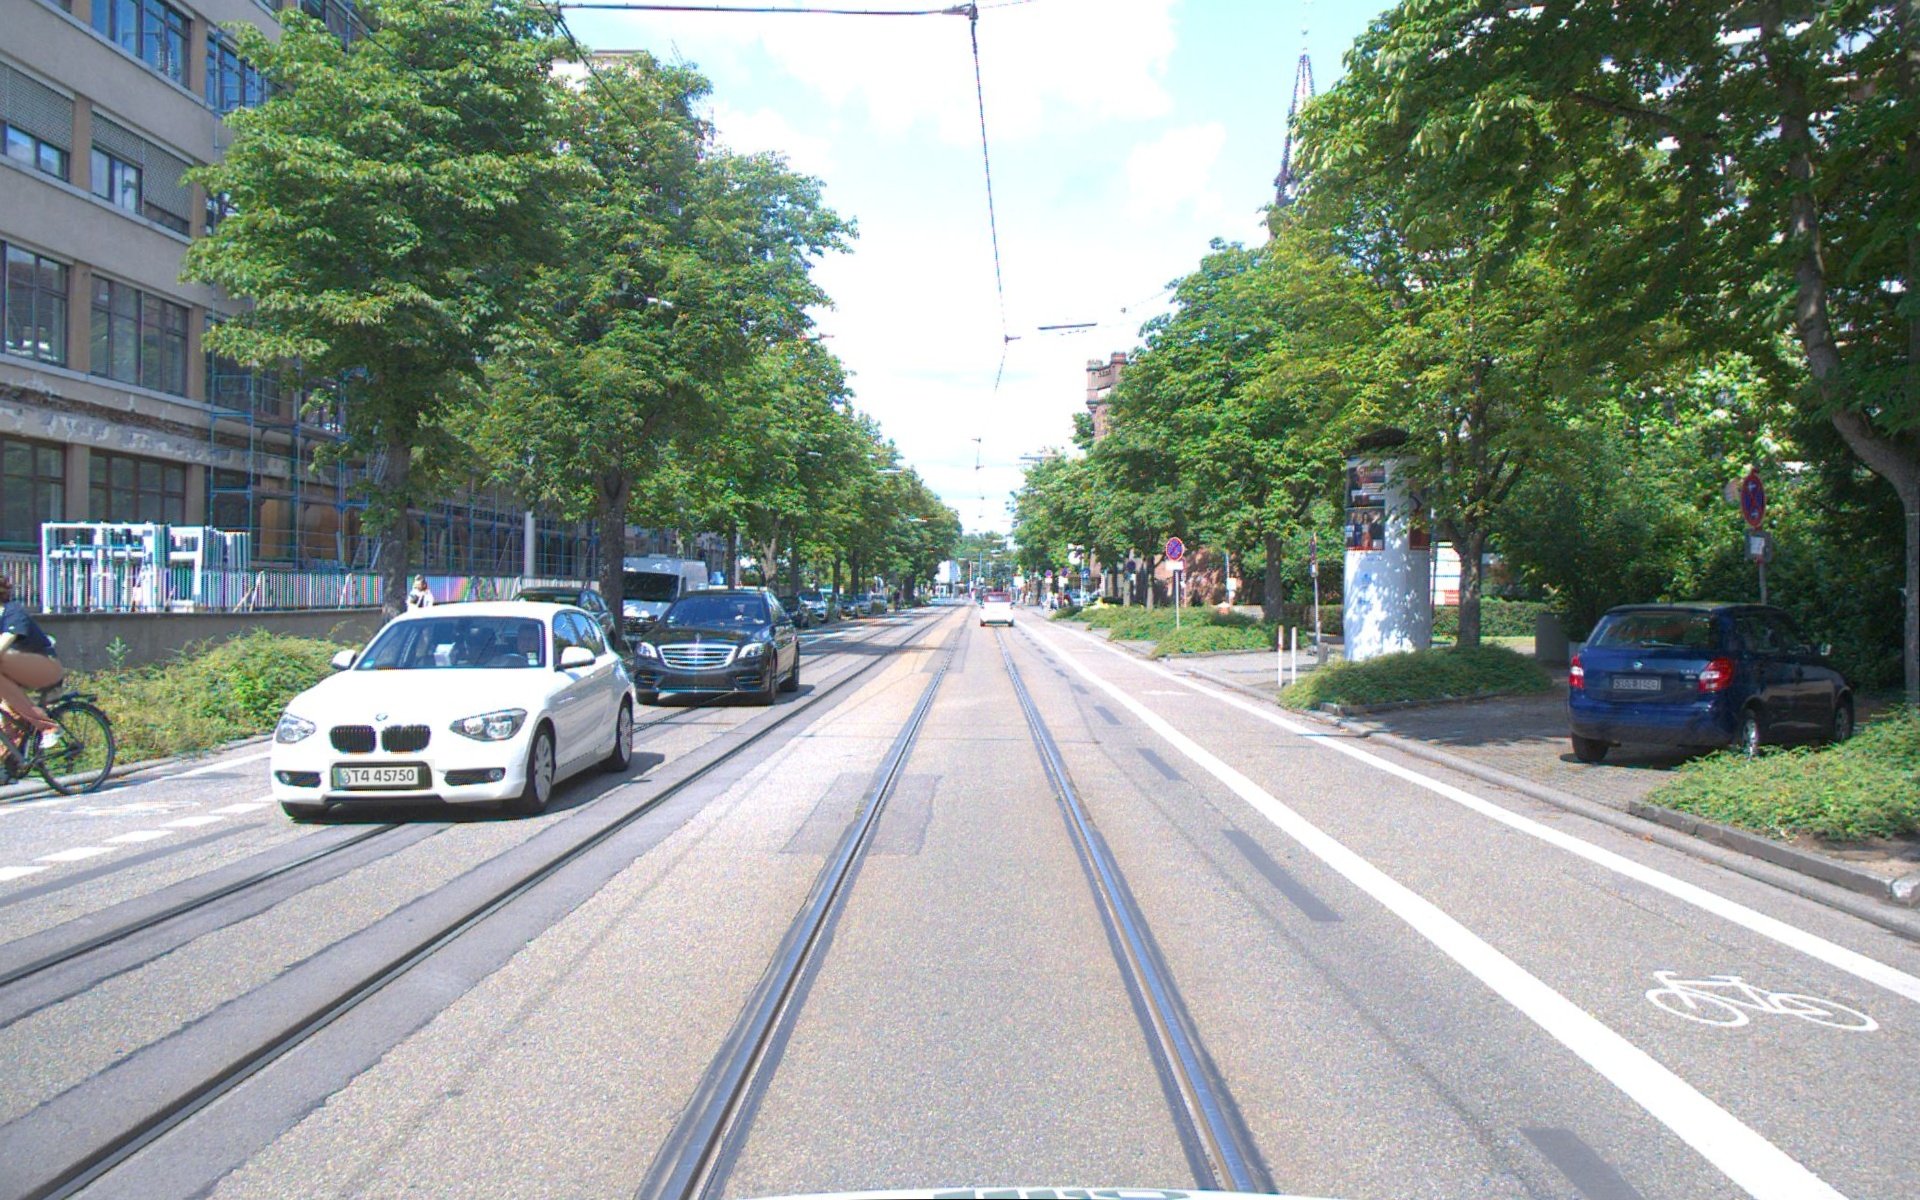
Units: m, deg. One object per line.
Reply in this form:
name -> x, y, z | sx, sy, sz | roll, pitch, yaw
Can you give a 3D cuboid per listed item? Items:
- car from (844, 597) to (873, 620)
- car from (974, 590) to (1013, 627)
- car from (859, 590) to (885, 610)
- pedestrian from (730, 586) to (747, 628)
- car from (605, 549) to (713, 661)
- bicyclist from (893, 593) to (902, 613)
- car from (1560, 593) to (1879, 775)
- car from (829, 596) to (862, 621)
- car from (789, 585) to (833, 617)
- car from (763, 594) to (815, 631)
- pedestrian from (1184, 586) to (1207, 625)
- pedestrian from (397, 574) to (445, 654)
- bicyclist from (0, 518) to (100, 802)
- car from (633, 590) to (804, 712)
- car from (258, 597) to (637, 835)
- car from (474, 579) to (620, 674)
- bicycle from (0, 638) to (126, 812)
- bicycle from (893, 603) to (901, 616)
car -> -7.229, 0.575, 118.317 | 1.767, 1.543, 4.103 | 2, 0, 0
car -> 1.549, 0.392, 76.665 | 1.632, 1.653, 3.619 | 0, 1, -2
car -> -6.914, 0.008, 129.718 | 1.767, 1.543, 4.103 | 1, 0, 0
pedestrian -> -11.046, 0.339, 82.509 | 0.788, 2.049, 0.484 | 1, 0, -9
car -> -7.785, 0.121, 43.251 | 1.733, 2.685, 5.322 | 2, 0, 0
bicyclist -> -5.131, 0.257, 135.313 | 0.645, 1.607, 0.946 | 2, 0, -1
car -> 7.465, 0.711, 16.076 | 1.589, 1.512, 3.972 | 0, 0, 44
car -> -7.320, 0.513, 105.898 | 1.767, 1.543, 4.103 | 1, 0, 0
car -> -7.504, 0.047, 83.617 | 1.767, 1.543, 4.103 | 1, 0, 0
car -> -7.507, 0.545, 73.010 | 1.767, 1.543, 4.103 | 2, 0, 0
pedestrian -> 12.496, 0.278, 87.760 | 0.957, 2.049, 1.093 | 2, 0, -1
pedestrian -> -11.335, 0.290, 34.812 | 0.749, 1.648, 0.594 | 2, 0, 0
bicyclist -> -7.102, 0.444, 12.394 | 0.858, 2.049, 0.833 | -1, -1, -1
car -> -3.318, 0.653, 23.528 | 1.763, 1.534, 4.536 | 1, 0, 0
car -> -3.603, 0.728, 12.414 | 1.653, 1.430, 4.224 | -2, 0, -2
car -> -8.047, 0.494, 32.579 | 1.767, 1.691, 4.103 | 2, 0, 0
bicycle -> -7.072, 0.912, 12.388 | 0.630, 1.186, 1.944 | -2, 0, 0
bicycle -> -5.125, 0.770, 135.259 | 0.606, 0.990, 1.717 | 1, 0, -1
